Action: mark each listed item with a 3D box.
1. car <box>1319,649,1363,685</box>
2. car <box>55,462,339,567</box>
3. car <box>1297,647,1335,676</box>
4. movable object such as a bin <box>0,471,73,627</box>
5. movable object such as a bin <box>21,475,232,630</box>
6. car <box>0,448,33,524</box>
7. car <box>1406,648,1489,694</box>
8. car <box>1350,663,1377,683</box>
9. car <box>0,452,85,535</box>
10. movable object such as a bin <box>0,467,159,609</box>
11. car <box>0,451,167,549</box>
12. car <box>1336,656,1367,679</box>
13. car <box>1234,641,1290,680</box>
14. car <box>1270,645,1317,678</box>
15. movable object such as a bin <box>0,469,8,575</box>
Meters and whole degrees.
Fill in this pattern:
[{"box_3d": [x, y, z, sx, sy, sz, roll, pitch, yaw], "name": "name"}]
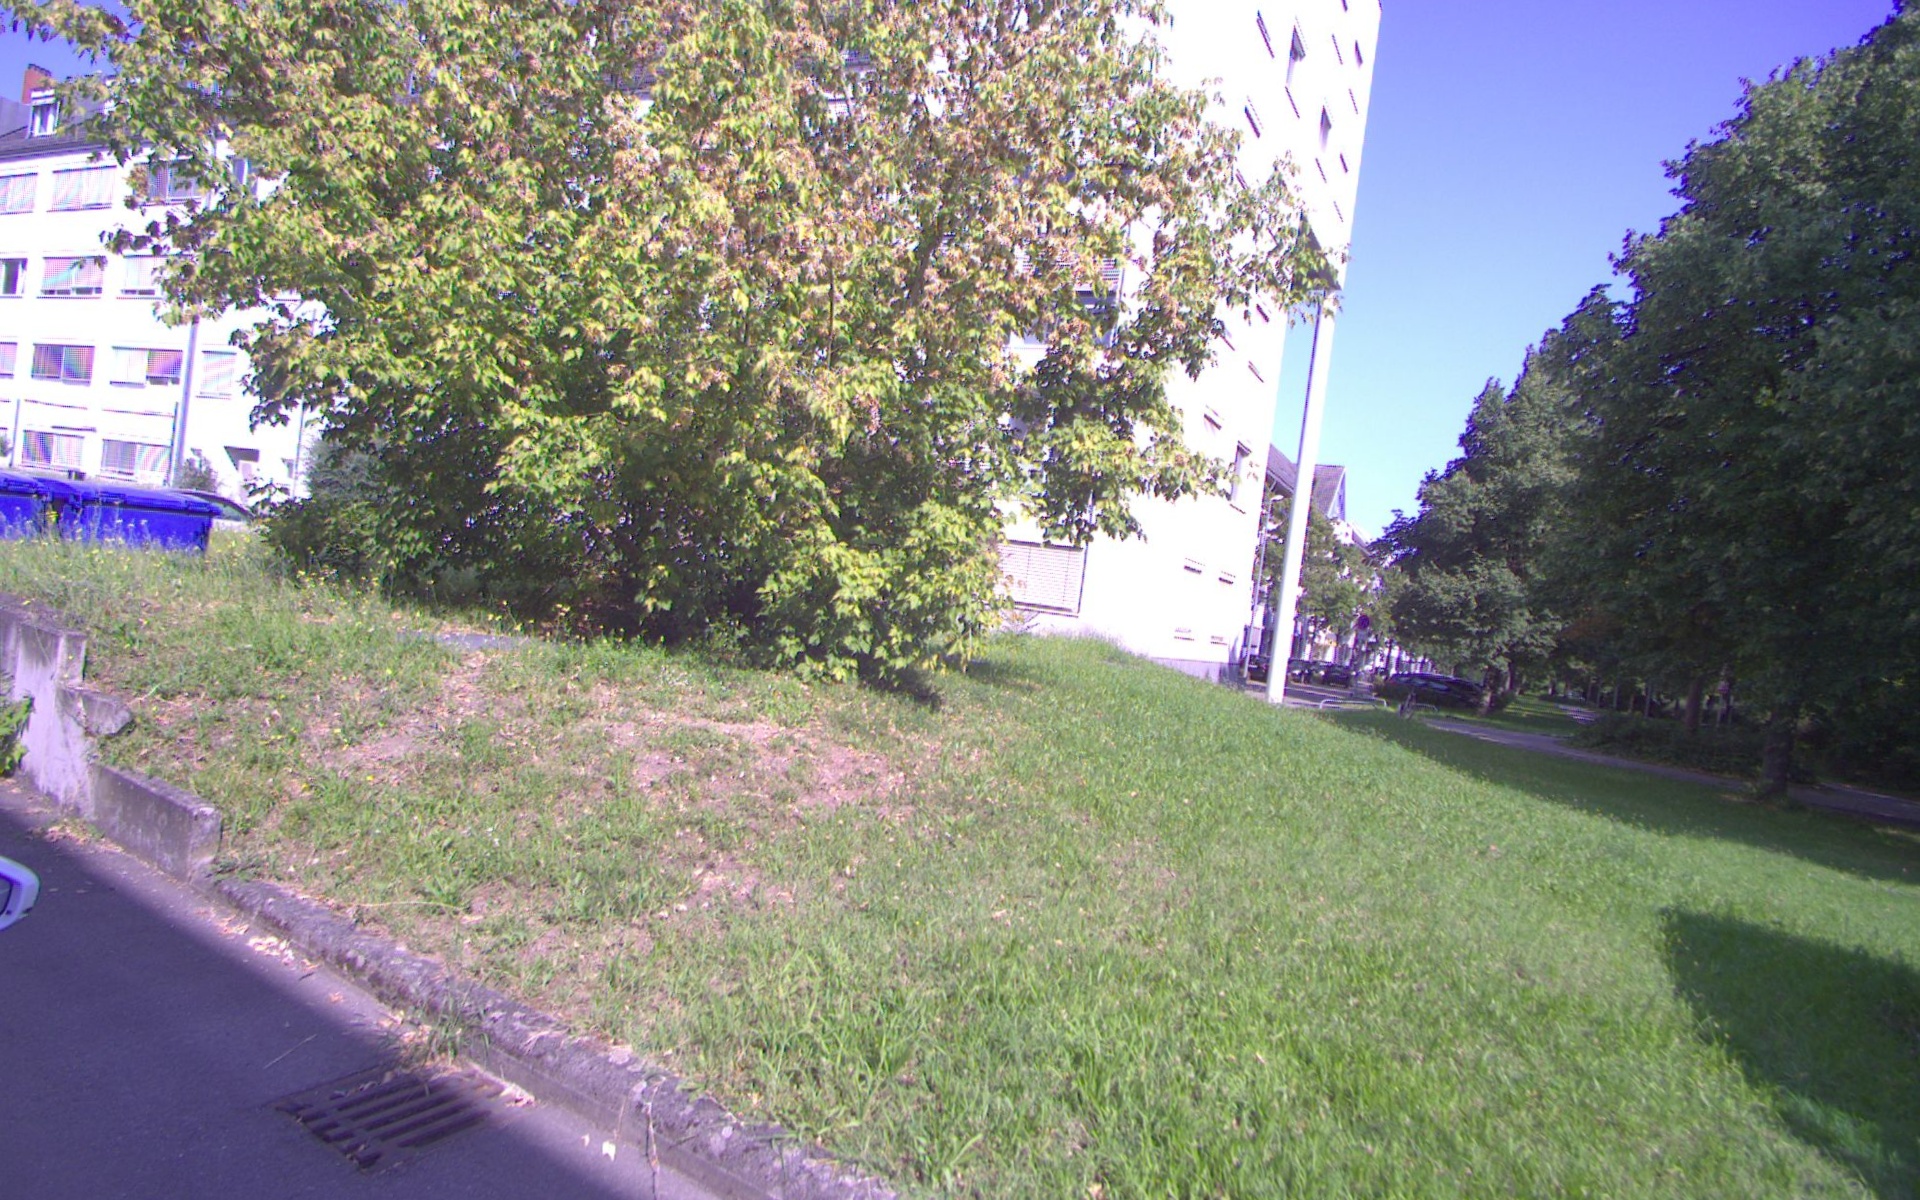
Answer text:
[{"box_3d": [25.137, 4.422, 66.318, 1.966, 2.038, 3.994, 8, 0, 29], "name": "car"}, {"box_3d": [-13.418, -1.457, 17.896, 1.771, 1.567, 3.617, 8, 5, 28], "name": "car"}, {"box_3d": [25.131, 4.341, 70.936, 1.736, 1.749, 3.995, 8, 0, 29], "name": "car"}, {"box_3d": [-8.997, -0.515, 8.935, 1.081, 1.358, 1.311, 8, 2, 27], "name": "movable object such as a bin"}, {"box_3d": [-8.324, -0.447, 10.083, 1.057, 1.358, 1.228, 8, 2, 26], "name": "movable object such as a bin"}, {"box_3d": [-23.821, -2.853, 22.499, 1.740, 1.713, 4.123, 8, 1, 27], "name": "car"}, {"box_3d": [27.974, 4.061, 57.697, 3.933, 2.038, 1.996, 8, 1, 31], "name": "car"}, {"box_3d": [36.591, 6.643, 91.199, 1.736, 1.565, 3.681, 8, 0, 29], "name": "car"}, {"box_3d": [-21.368, -2.449, 21.258, 1.846, 1.609, 3.870, 8, 1, 25], "name": "car"}, {"box_3d": [-9.744, -0.672, 10.969, 1.099, 1.358, 1.235, 8, 2, 34], "name": "movable object such as a bin"}, {"box_3d": [-18.490, -2.062, 19.984, 1.862, 1.609, 3.809, 7, 1, 21], "name": "car"}, {"box_3d": [31.840, 5.507, 81.742, 1.736, 1.544, 3.995, 8, 0, 29], "name": "car"}, {"box_3d": [16.425, 3.304, 54.627, 1.919, 1.749, 3.995, 8, 0, 29], "name": "car"}, {"box_3d": [20.682, 3.828, 62.292, 1.919, 1.749, 3.995, 8, 0, 29], "name": "car"}, {"box_3d": [-10.446, -0.727, 9.844, 1.174, 1.358, 1.302, 8, 2, 30], "name": "movable object such as a bin"}]
